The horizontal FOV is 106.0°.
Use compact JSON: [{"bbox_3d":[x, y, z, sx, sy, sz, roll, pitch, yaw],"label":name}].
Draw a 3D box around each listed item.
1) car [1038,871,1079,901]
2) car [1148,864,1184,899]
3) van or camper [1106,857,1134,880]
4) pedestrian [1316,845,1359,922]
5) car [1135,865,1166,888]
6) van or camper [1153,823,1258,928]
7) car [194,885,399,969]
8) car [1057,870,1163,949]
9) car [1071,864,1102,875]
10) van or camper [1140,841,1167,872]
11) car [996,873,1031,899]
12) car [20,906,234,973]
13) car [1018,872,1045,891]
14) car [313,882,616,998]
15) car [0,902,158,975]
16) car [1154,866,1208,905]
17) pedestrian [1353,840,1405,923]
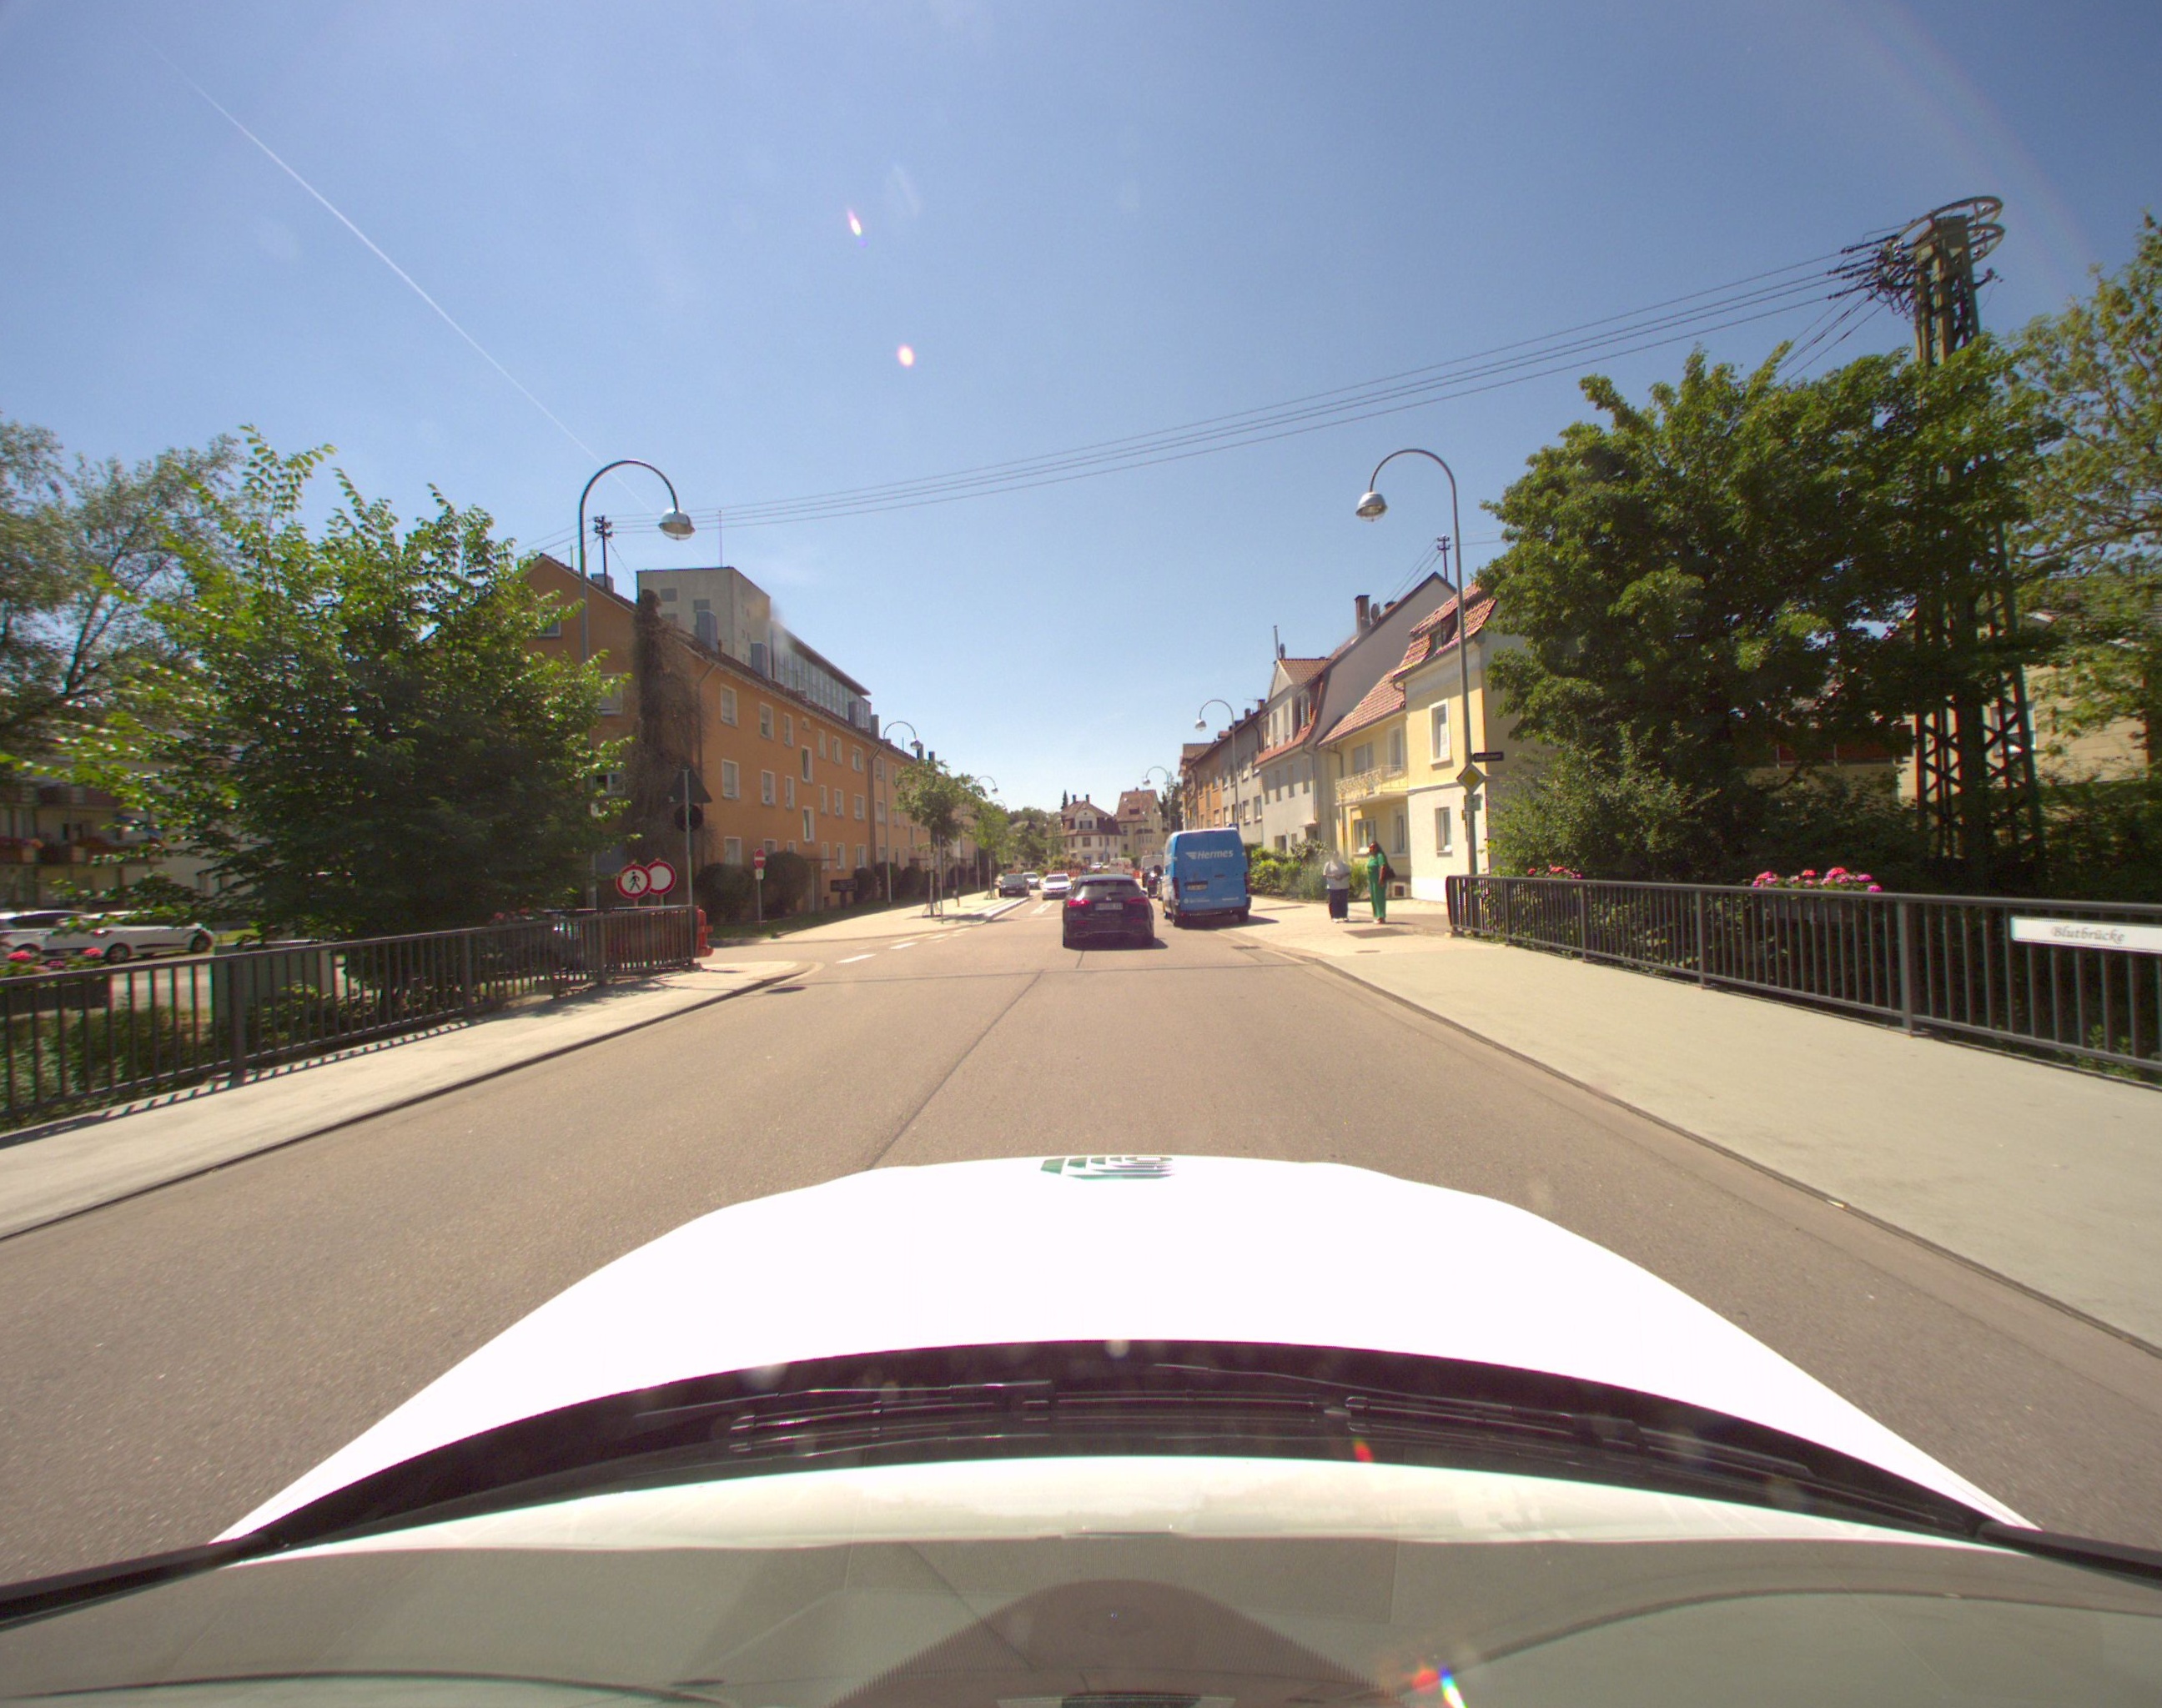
[{"bbox_3d":[-1.273,1.847,47.494,1.985,1.507,4.291,-2,0,3],"label":"car"},{"bbox_3d":[4.530,1.420,43.853,1.720,1.633,4.006,-5,-1,5],"label":"car"},{"bbox_3d":[4.793,1.766,99.422,2.187,2.611,4.020,-2,-1,19],"label":"van or camper"},{"bbox_3d":[5.824,0.661,18.522,0.635,1.654,0.521,-6,0,-2],"label":"pedestrian"},{"bbox_3d":[5.513,1.776,64.176,1.884,1.607,4.376,-4,-1,10],"label":"car"},{"bbox_3d":[3.366,0.607,23.384,2.100,2.467,6.178,-4,-2,2],"label":"van or camper"},{"bbox_3d":[-22.410,2.054,23.370,3.968,2.013,2.003,-4,-1,5],"label":"car"},{"bbox_3d":[0.605,1.097,17.219,1.946,1.427,4.001,-1,-2,2],"label":"car"},{"bbox_3d":[0.819,2.119,110.454,3.966,1.486,1.972,0,-1,6],"label":"car"},{"bbox_3d":[6.674,0.248,75.445,2.156,2.589,5.769,-3,-1,3],"label":"van or camper"},{"bbox_3d":[-4.392,2.054,53.732,1.851,1.506,4.561,-2,0,0],"label":"car"},{"bbox_3d":[-29.091,2.546,25.064,1.990,1.503,3.993,-1,1,-5],"label":"car"},{"bbox_3d":[-4.259,2.347,70.387,1.987,1.420,4.087,-2,0,0],"label":"car"},{"bbox_3d":[-12.132,1.631,16.338,4.423,1.874,1.813,-2,0,-10],"label":"car"},{"bbox_3d":[-31.169,2.506,24.625,1.989,1.816,3.996,-1,0,-3],"label":"car"},{"bbox_3d":[4.431,1.349,36.841,1.797,1.475,4.720,-5,-1,1],"label":"car"},{"bbox_3d":[6.402,0.589,17.532,0.521,1.706,0.799,-6,0,-19],"label":"pedestrian"}]
